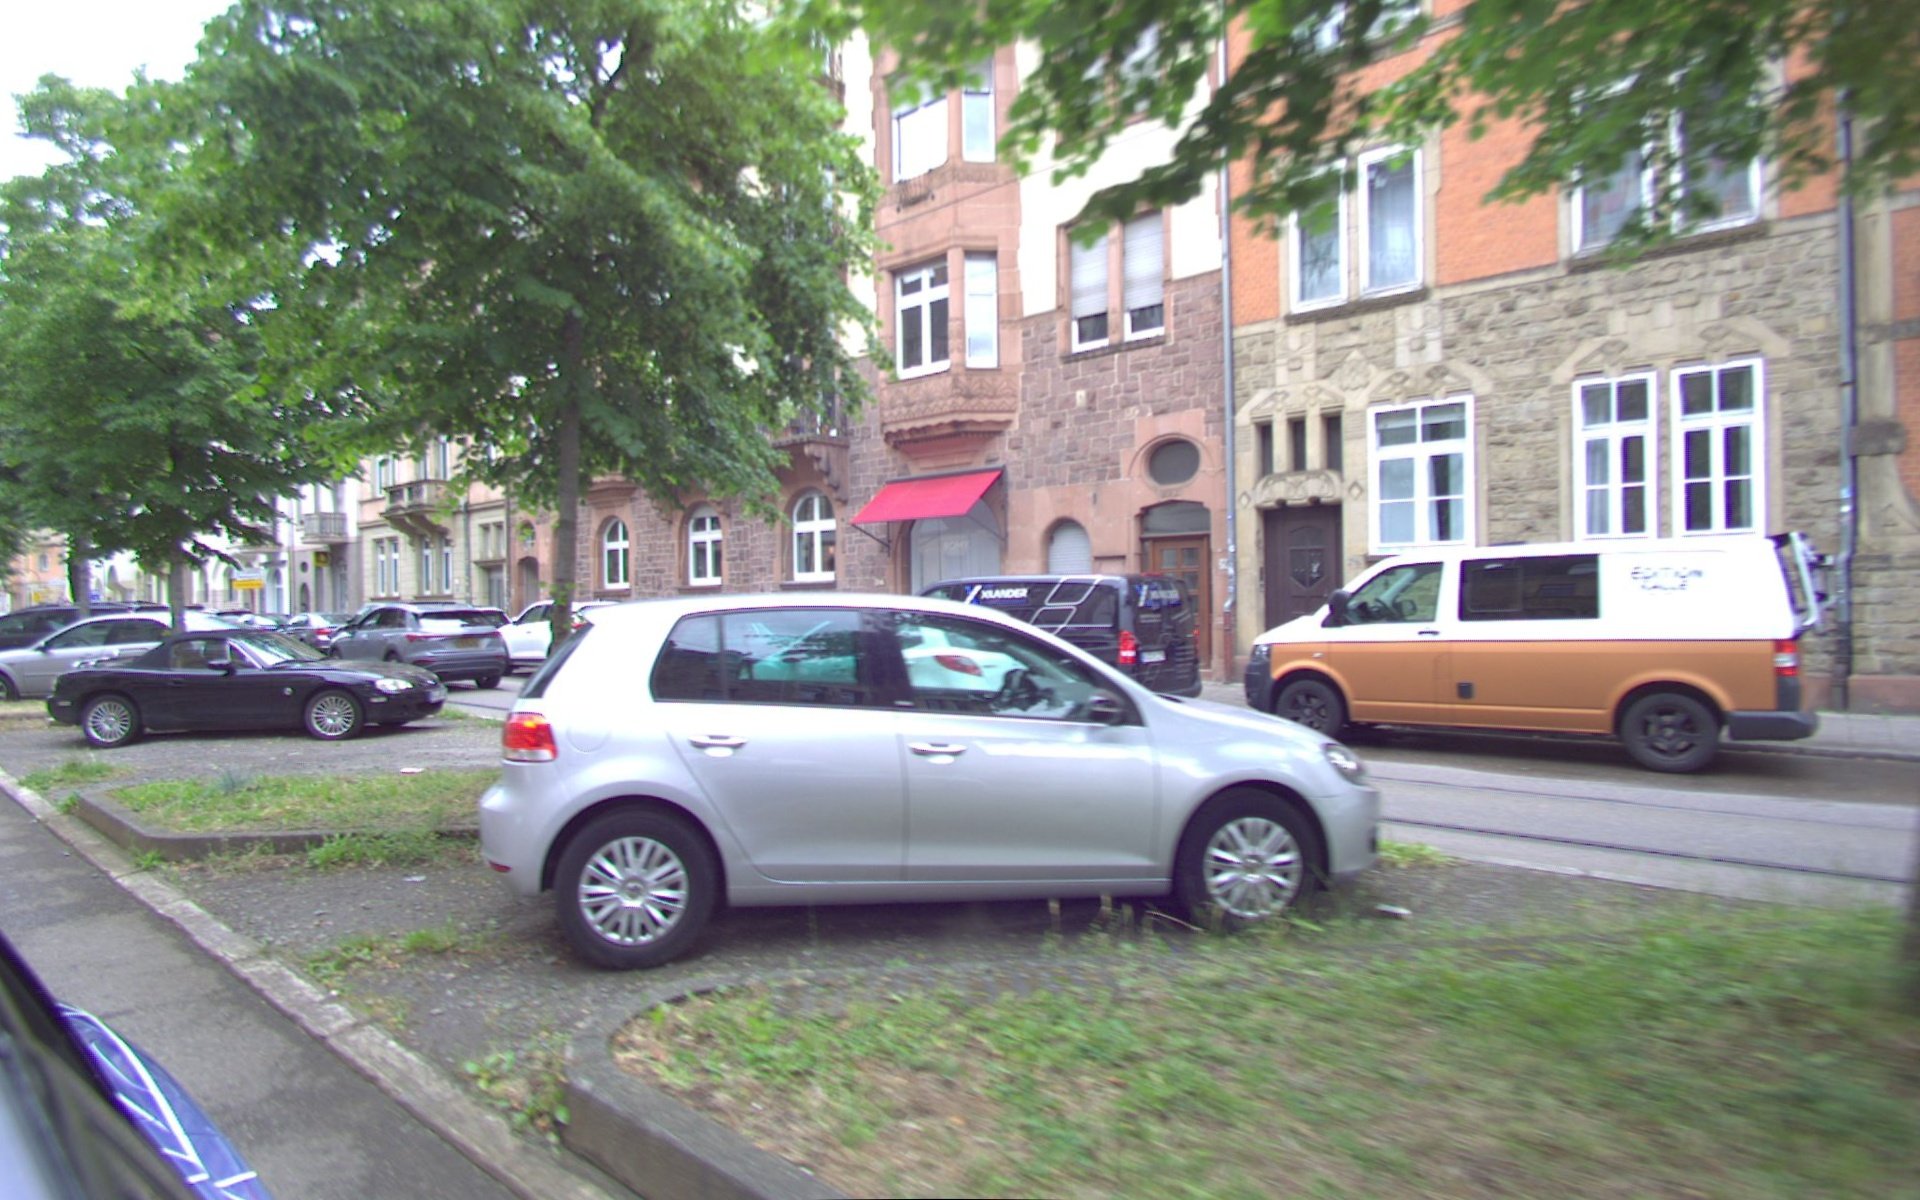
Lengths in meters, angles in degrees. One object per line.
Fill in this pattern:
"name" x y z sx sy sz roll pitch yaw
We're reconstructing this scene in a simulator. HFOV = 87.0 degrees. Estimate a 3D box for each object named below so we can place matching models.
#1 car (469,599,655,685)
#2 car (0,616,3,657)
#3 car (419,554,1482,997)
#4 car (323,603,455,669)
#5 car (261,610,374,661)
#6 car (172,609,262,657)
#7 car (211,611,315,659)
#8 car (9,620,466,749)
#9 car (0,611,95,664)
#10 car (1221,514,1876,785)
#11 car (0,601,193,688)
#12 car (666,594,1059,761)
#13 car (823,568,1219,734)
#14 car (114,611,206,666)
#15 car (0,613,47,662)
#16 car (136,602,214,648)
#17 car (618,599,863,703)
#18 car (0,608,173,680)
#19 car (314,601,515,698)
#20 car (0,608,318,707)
"car" -8.552 0.828 21.569 4.550 1.638 1.723 -1 0 40
"car" -39.945 1.473 39.074 4.140 1.621 1.728 0 1 -8
"car" -0.022 0.602 4.734 4.052 1.495 1.800 -1 0 -9
"car" -15.704 0.940 27.735 4.317 1.641 1.751 -1 0 40
"car" -20.124 1.058 31.636 4.227 1.449 1.787 -1 0 40
"car" -28.182 1.203 38.353 4.269 1.692 1.787 -1 0 40
"car" -23.735 1.144 34.410 4.384 1.501 1.787 -1 0 40
"car" -7.958 0.892 11.466 3.902 1.211 1.670 -1 0 -6
"car" -26.470 1.046 27.570 4.066 1.322 1.866 -2 0 -6
"car" 5.284 0.370 9.713 5.090 1.967 1.862 -1 0 40
"car" -18.588 0.885 20.604 4.463 1.645 1.767 -1 0 -5
"car" -1.261 0.718 11.356 4.618 1.515 1.627 -1 0 40
"car" 0.611 0.562 13.260 5.113 1.795 1.795 -1 0 40
"car" -23.660 1.100 29.905 2.890 1.526 1.588 -1 0 40
"car" -32.203 1.222 32.189 4.497 1.504 1.865 -1 1 -4
"car" -33.782 1.065 43.487 4.429 1.885 1.831 -1 -1 41
"car" -3.900 0.793 17.508 4.550 1.553 1.723 -1 0 40
"car" -20.921 0.977 22.950 4.472 1.501 2.038 -1 0 -5
"car" -10.369 0.851 19.093 4.543 1.591 1.787 -1 0 40
"car" -13.054 0.868 16.012 4.595 1.378 1.760 -1 0 -7
